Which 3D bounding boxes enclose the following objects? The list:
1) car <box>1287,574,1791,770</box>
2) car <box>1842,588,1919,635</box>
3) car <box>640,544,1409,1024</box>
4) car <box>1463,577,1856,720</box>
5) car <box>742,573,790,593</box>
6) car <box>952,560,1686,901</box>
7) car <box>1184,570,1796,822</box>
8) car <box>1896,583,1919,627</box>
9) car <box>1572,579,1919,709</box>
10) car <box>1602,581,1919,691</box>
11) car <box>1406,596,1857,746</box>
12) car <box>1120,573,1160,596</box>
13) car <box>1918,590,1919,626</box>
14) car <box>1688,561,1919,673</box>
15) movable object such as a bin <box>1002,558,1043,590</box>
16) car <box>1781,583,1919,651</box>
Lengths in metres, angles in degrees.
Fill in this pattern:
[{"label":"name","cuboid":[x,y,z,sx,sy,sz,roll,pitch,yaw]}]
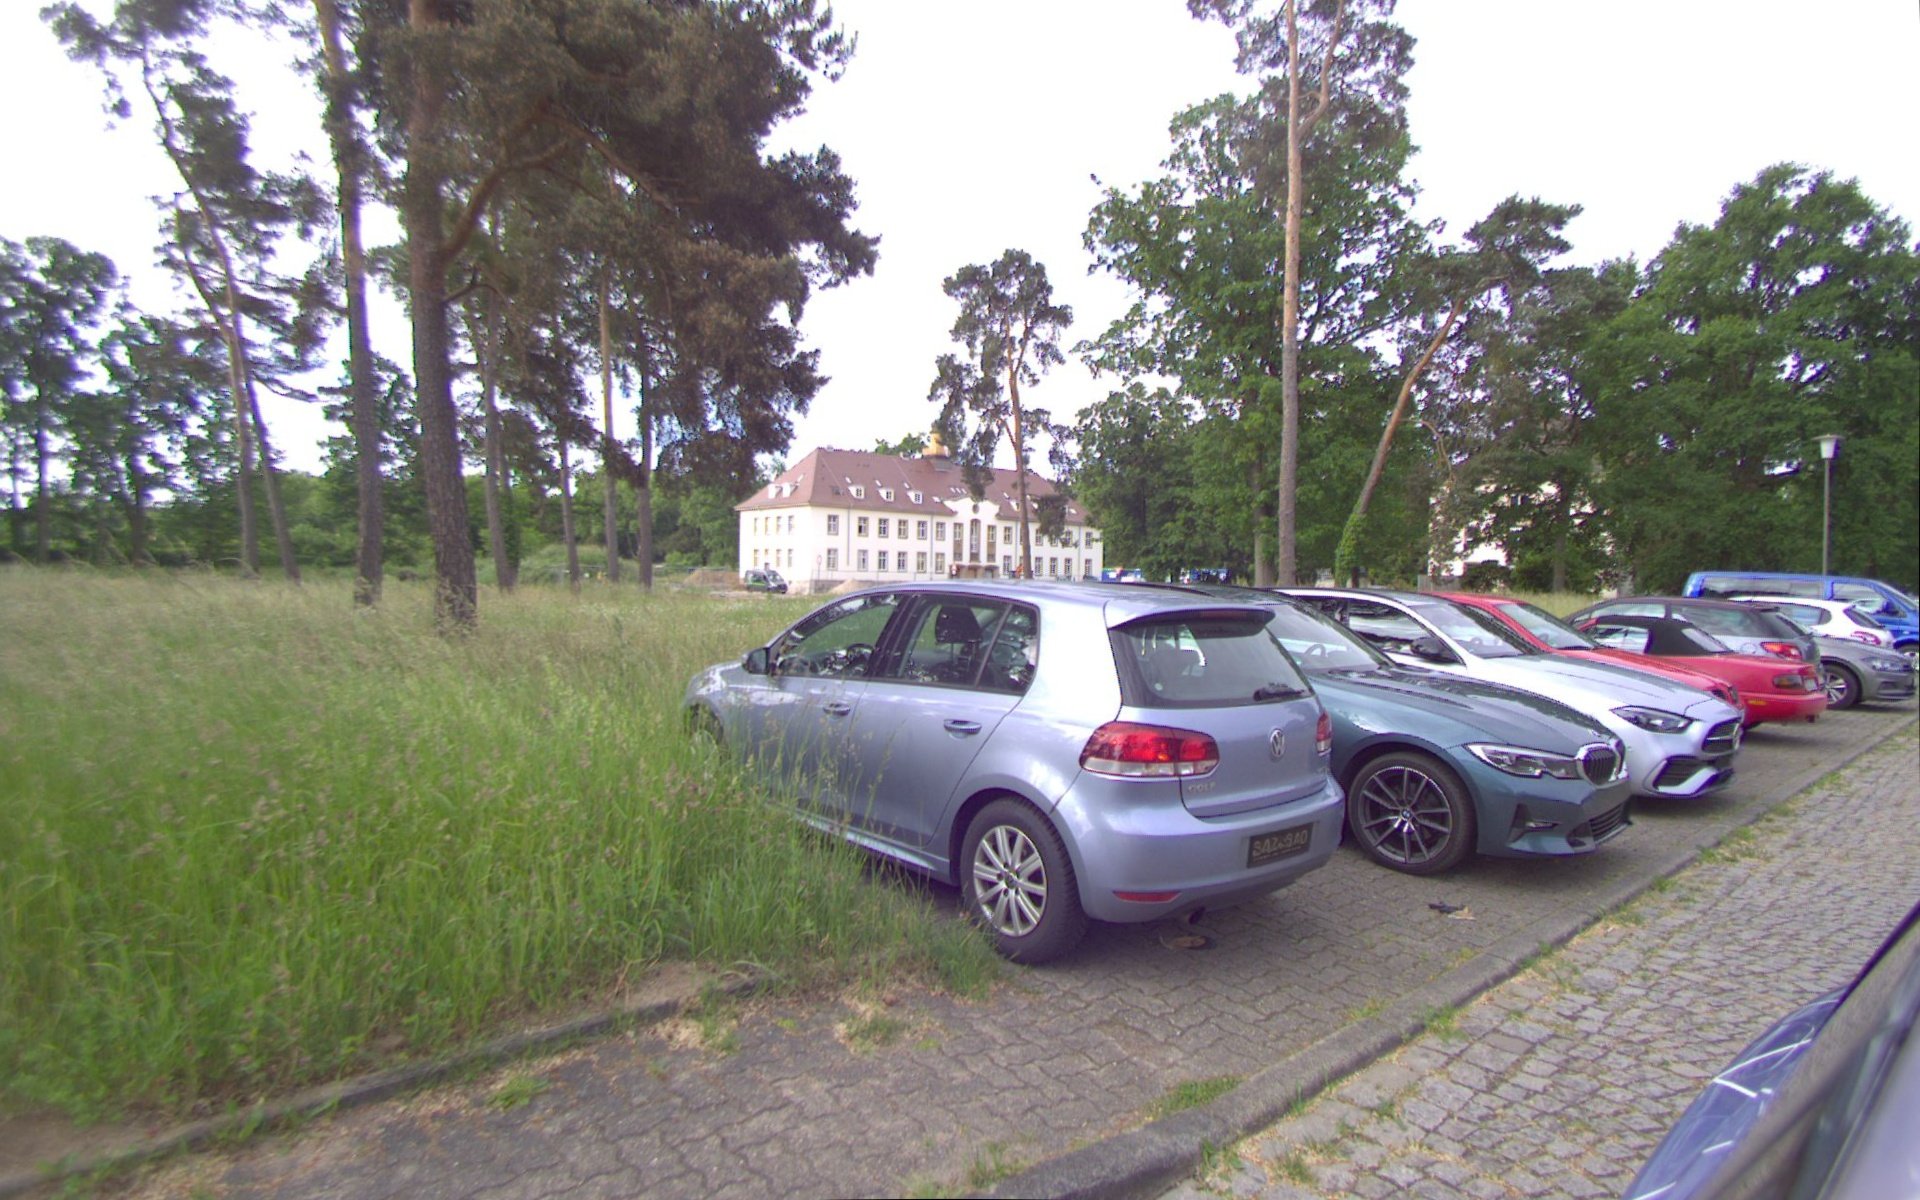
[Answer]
[{"label":"car","cuboid":[5.717,0.552,10.474,1.686,1.500,4.183,0,2,-39]},{"label":"car","cuboid":[31.826,0.418,33.208,1.695,1.462,4.085,0,2,-38]},{"label":"car","cuboid":[-0.033,0.513,5.328,1.668,1.446,4.009,0,4,-41]},{"label":"car","cuboid":[9.241,0.525,13.694,1.571,1.535,4.053,0,2,-37]},{"label":"car","cuboid":[-20.571,-1.790,107.154,2.159,1.985,5.781,-1,1,-44]},{"label":"car","cuboid":[2.027,0.537,6.888,1.635,1.400,4.438,0,4,-41]},{"label":"car","cuboid":[4.134,0.557,8.571,1.686,1.491,4.249,0,2,-38]},{"label":"car","cuboid":[39.678,0.276,39.665,1.693,1.715,4.090,1,2,-33]},{"label":"car","cuboid":[11.708,0.530,15.068,1.669,1.535,4.100,0,2,-37]},{"label":"car","cuboid":[13.571,0.507,17.318,1.571,1.535,4.053,0,2,-37]},{"label":"car","cuboid":[7.507,0.673,11.679,1.522,1.255,4.050,0,2,-39]},{"label":"car","cuboid":[18.860,-1.607,105.906,4.369,2.394,1.861,-1,1,-40]},{"label":"car","cuboid":[43.287,0.458,42.528,1.693,1.552,4.100,1,2,-33]},{"label":"car","cuboid":[17.830,0.273,20.518,1.877,2.030,4.604,-1,3,-38]},{"label":"movable object such as a bin","cuboid":[7.549,-3.165,122.905,2.015,3.817,5.462,-1,1,-36]},{"label":"car","cuboid":[24.271,0.447,26.445,1.624,1.612,4.086,0,2,-37]}]
